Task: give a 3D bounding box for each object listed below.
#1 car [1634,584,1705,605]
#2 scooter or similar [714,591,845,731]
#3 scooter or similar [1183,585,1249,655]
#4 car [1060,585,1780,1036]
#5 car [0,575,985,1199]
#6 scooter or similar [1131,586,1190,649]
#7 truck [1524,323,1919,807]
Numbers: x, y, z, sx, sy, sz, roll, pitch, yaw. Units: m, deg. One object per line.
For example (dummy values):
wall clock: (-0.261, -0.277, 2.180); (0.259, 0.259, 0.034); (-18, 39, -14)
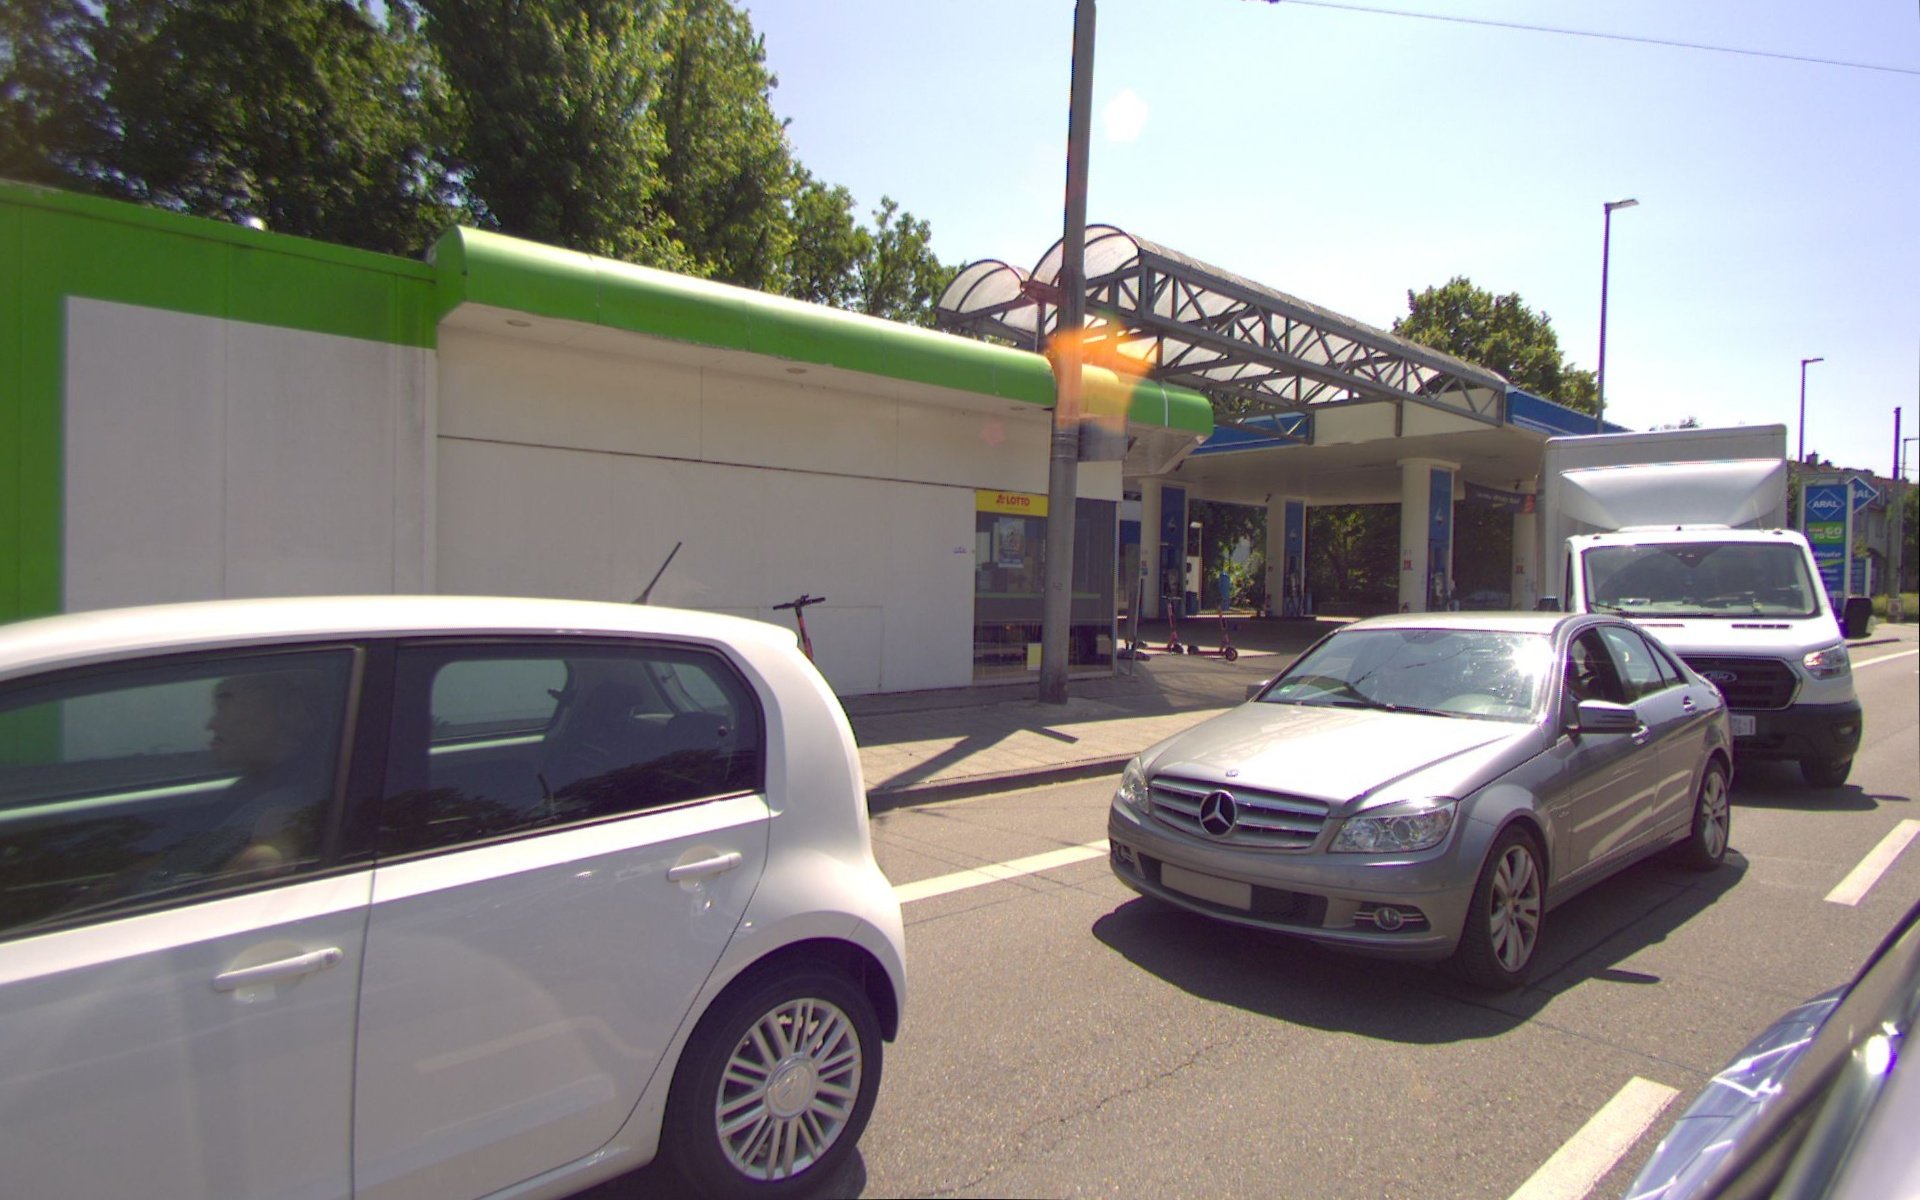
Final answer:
car: (57.069, -0.449, 81.459); (1.961, 1.540, 4.230); (0, 1, -32)
scooter or similar: (-1.663, 0.533, 9.386); (1.117, 1.209, 0.384); (0, 4, -36)
scooter or similar: (4.799, 0.355, 18.988); (0.404, 1.256, 1.176); (0, 1, -39)
car: (2.713, 0.684, 5.434); (4.339, 1.467, 1.800); (0, 1, -40)
car: (-1.766, 0.689, 2.278); (3.459, 1.469, 1.610); (0, 1, -41)
scooter or similar: (3.935, 0.329, 19.920); (0.377, 1.191, 1.138); (0, 1, -39)
truck: (7.700, -0.322, 11.139); (2.405, 3.434, 7.756); (1, 1, 28)
